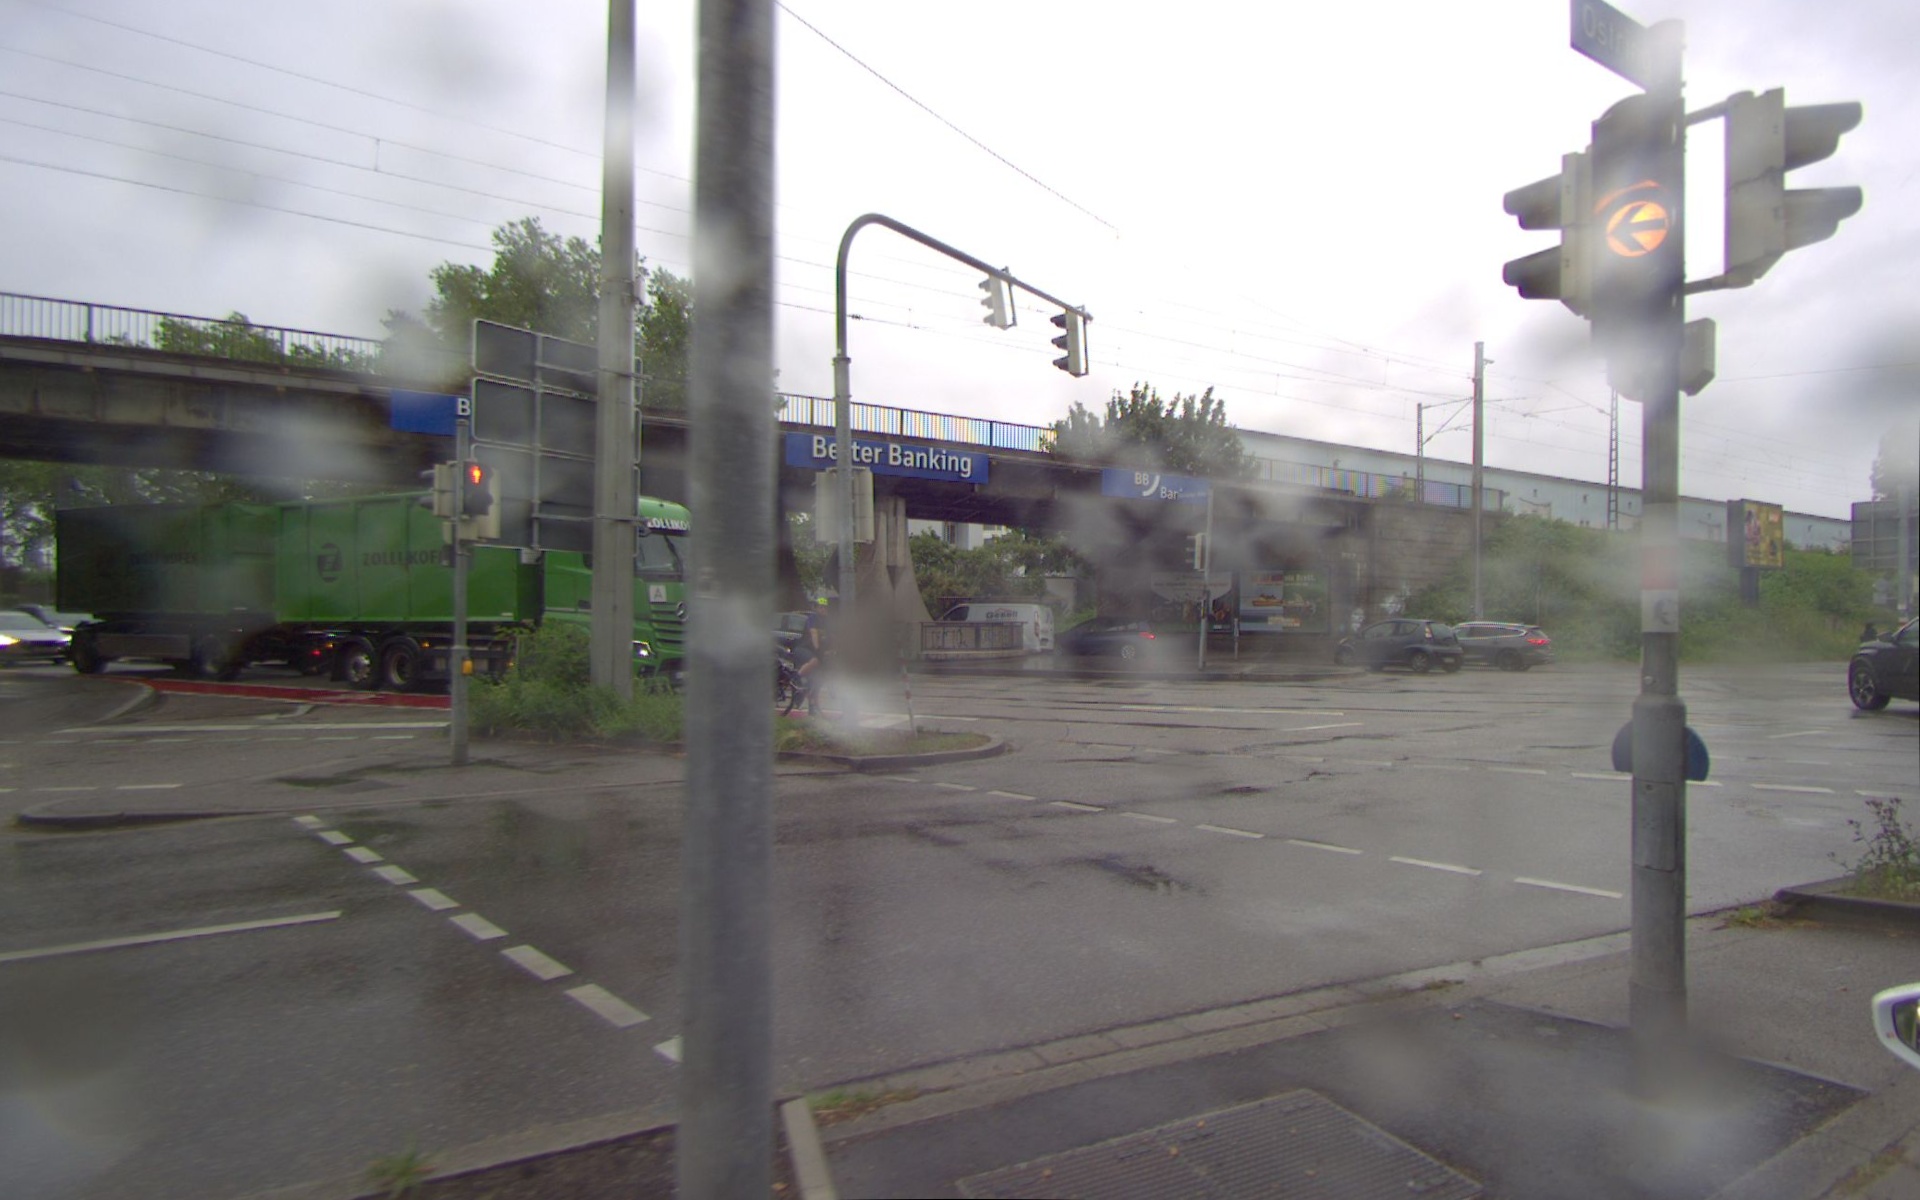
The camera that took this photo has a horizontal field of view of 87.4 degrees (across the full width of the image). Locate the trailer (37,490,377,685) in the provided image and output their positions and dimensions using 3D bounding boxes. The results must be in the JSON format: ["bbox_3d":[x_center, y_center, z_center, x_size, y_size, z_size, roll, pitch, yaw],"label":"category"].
[{"bbox_3d":[-17.887,-0.243,23.760,8.358,4.039,2.688,0,-1,24],"label":"trailer"}]

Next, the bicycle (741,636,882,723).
[{"bbox_3d":[-2.127,1.109,14.390,1.875,1.109,0.695,1,1,18],"label":"bicycle"}]

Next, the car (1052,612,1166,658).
[{"bbox_3d":[5.565,1.283,37.446,3.868,1.640,1.999,0,-1,23],"label":"car"}]

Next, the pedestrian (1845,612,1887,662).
[{"bbox_3d":[32.111,1.300,35.596,0.813,1.742,0.994,1,-1,-39],"label":"pedestrian"}]

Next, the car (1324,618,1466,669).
[{"bbox_3d":[12.049,1.160,27.993,1.563,1.323,3.433,0,-1,-28],"label":"car"}]

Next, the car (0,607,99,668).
[{"bbox_3d":[-26.318,1.011,27.953,3.923,1.595,1.999,0,-1,22],"label":"car"}]

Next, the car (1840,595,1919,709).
[{"bbox_3d":[14.652,0.748,14.176,1.885,1.630,4.001,0,-1,17],"label":"car"}]

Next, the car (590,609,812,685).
[{"bbox_3d":[-5.614,0.971,21.675,4.597,1.505,1.744,0,-1,26],"label":"car"}]

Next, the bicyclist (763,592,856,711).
[{"bbox_3d":[-2.147,0.712,14.396,1.026,1.615,0.805,2,0,18],"label":"bicyclist"}]

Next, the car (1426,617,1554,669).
[{"bbox_3d":[16.181,1.278,30.709,3.301,1.493,1.563,-1,-1,36],"label":"car"}]

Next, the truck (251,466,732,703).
[{"bbox_3d":[-9.545,-0.228,20.106,9.998,4.001,2.687,0,-1,23],"label":"truck"}]

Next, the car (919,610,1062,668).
[{"bbox_3d":[1.101,1.381,36.128,4.730,1.982,1.998,-1,-1,26],"label":"car"}]

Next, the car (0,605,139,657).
[{"bbox_3d":[-28.522,0.969,32.044,3.923,1.595,1.999,0,-1,22],"label":"car"}]

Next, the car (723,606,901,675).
[{"bbox_3d":[-3.540,0.942,24.138,3.921,1.566,1.660,0,-1,20],"label":"car"}]
